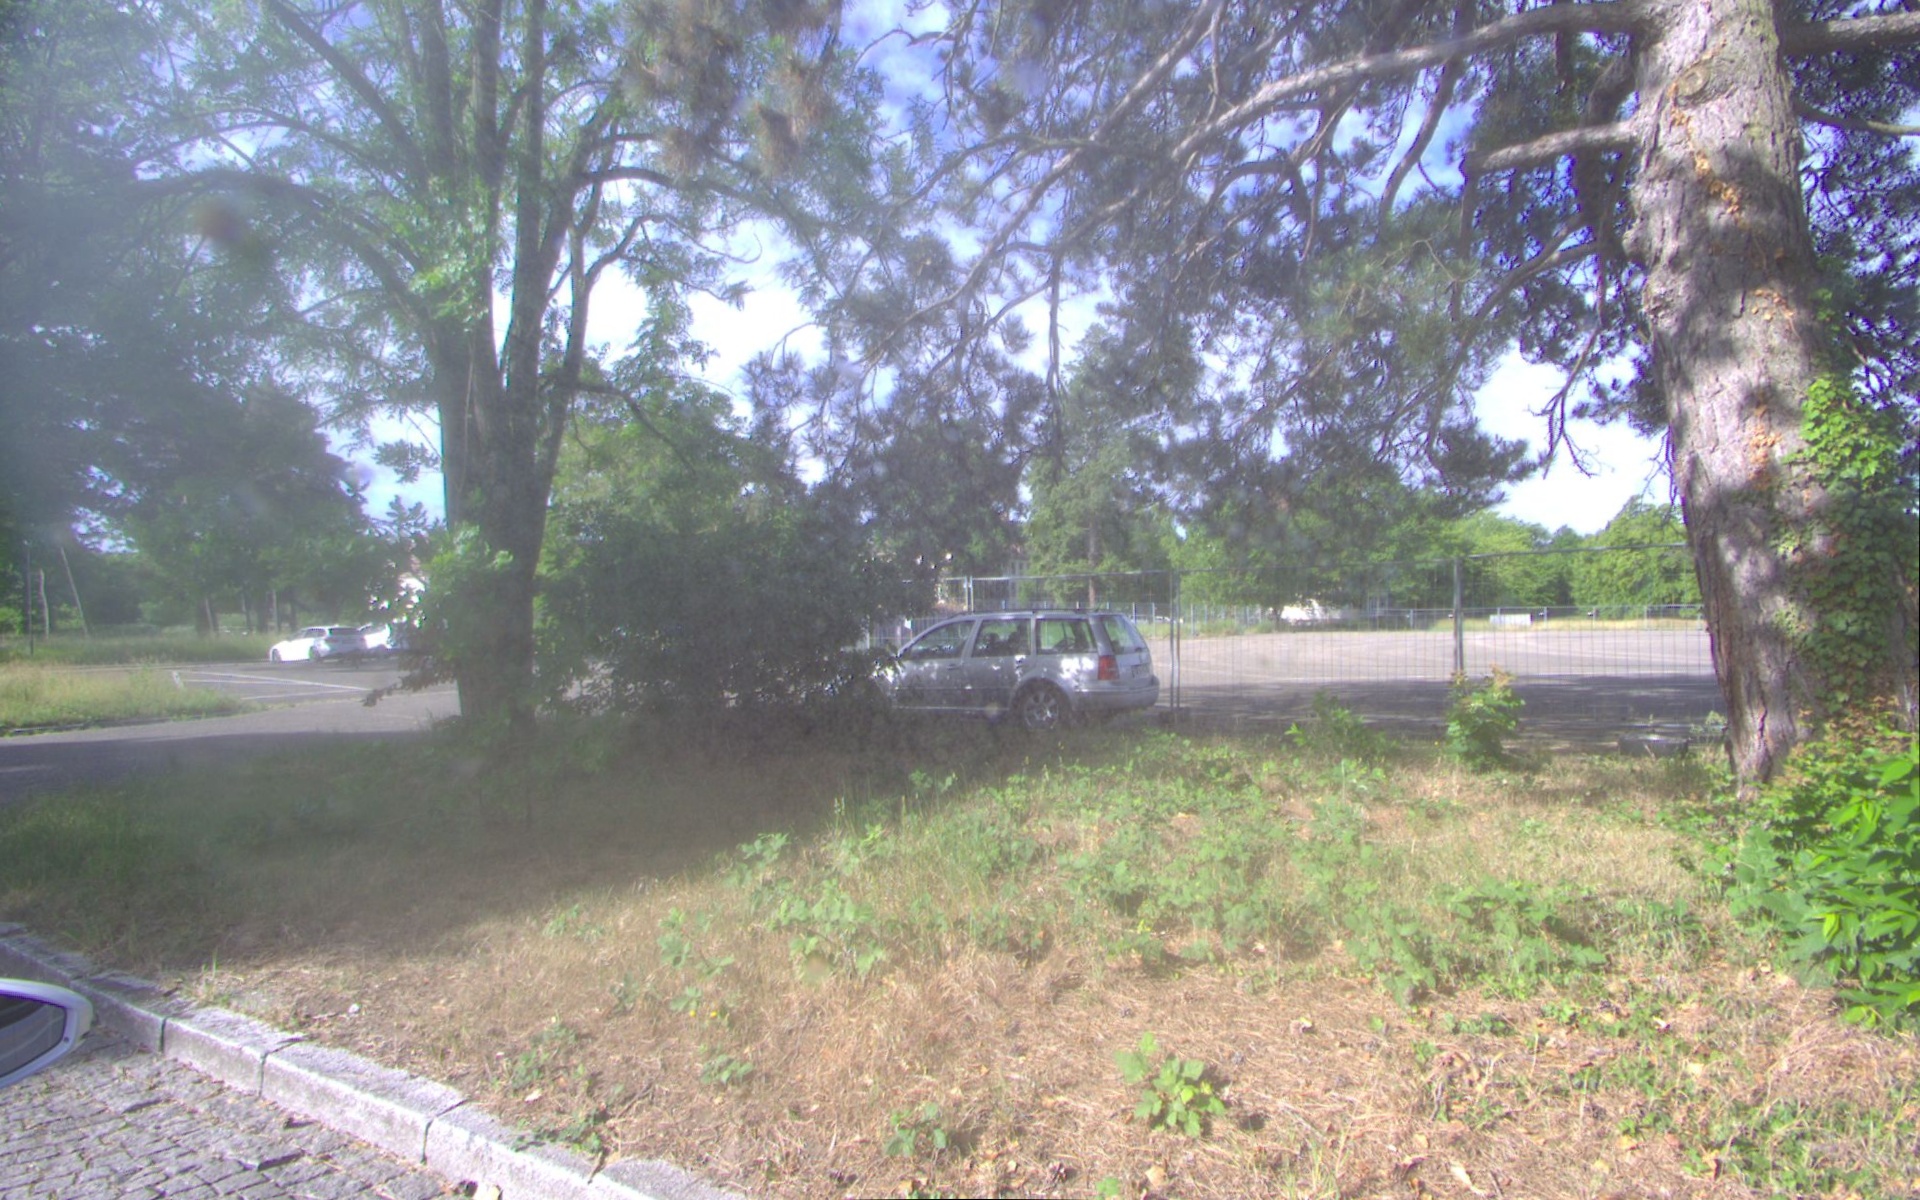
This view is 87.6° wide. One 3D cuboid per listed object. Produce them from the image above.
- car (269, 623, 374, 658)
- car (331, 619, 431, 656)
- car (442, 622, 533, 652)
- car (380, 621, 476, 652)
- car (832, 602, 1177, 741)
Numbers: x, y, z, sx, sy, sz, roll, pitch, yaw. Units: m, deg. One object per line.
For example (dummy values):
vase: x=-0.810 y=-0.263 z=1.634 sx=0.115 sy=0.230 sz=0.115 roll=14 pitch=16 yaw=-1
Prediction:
car: x=-25.816 y=1.602 z=40.484 sx=4.265 sy=1.329 sz=1.729 roll=-1 pitch=-1 yaw=28
car: x=-24.771 y=1.603 z=42.799 sx=4.265 sy=1.496 sz=1.729 roll=-1 pitch=-1 yaw=28
car: x=-22.491 y=1.763 z=47.683 sx=4.265 sy=1.329 sz=1.729 roll=-1 pitch=0 yaw=28
car: x=-23.911 y=1.623 z=44.966 sx=4.265 sy=1.329 sz=1.729 roll=-1 pitch=0 yaw=28
car: x=0.515 y=0.806 z=12.370 sx=3.938 sy=1.487 sz=1.666 roll=-1 pitch=-1 yaw=28
